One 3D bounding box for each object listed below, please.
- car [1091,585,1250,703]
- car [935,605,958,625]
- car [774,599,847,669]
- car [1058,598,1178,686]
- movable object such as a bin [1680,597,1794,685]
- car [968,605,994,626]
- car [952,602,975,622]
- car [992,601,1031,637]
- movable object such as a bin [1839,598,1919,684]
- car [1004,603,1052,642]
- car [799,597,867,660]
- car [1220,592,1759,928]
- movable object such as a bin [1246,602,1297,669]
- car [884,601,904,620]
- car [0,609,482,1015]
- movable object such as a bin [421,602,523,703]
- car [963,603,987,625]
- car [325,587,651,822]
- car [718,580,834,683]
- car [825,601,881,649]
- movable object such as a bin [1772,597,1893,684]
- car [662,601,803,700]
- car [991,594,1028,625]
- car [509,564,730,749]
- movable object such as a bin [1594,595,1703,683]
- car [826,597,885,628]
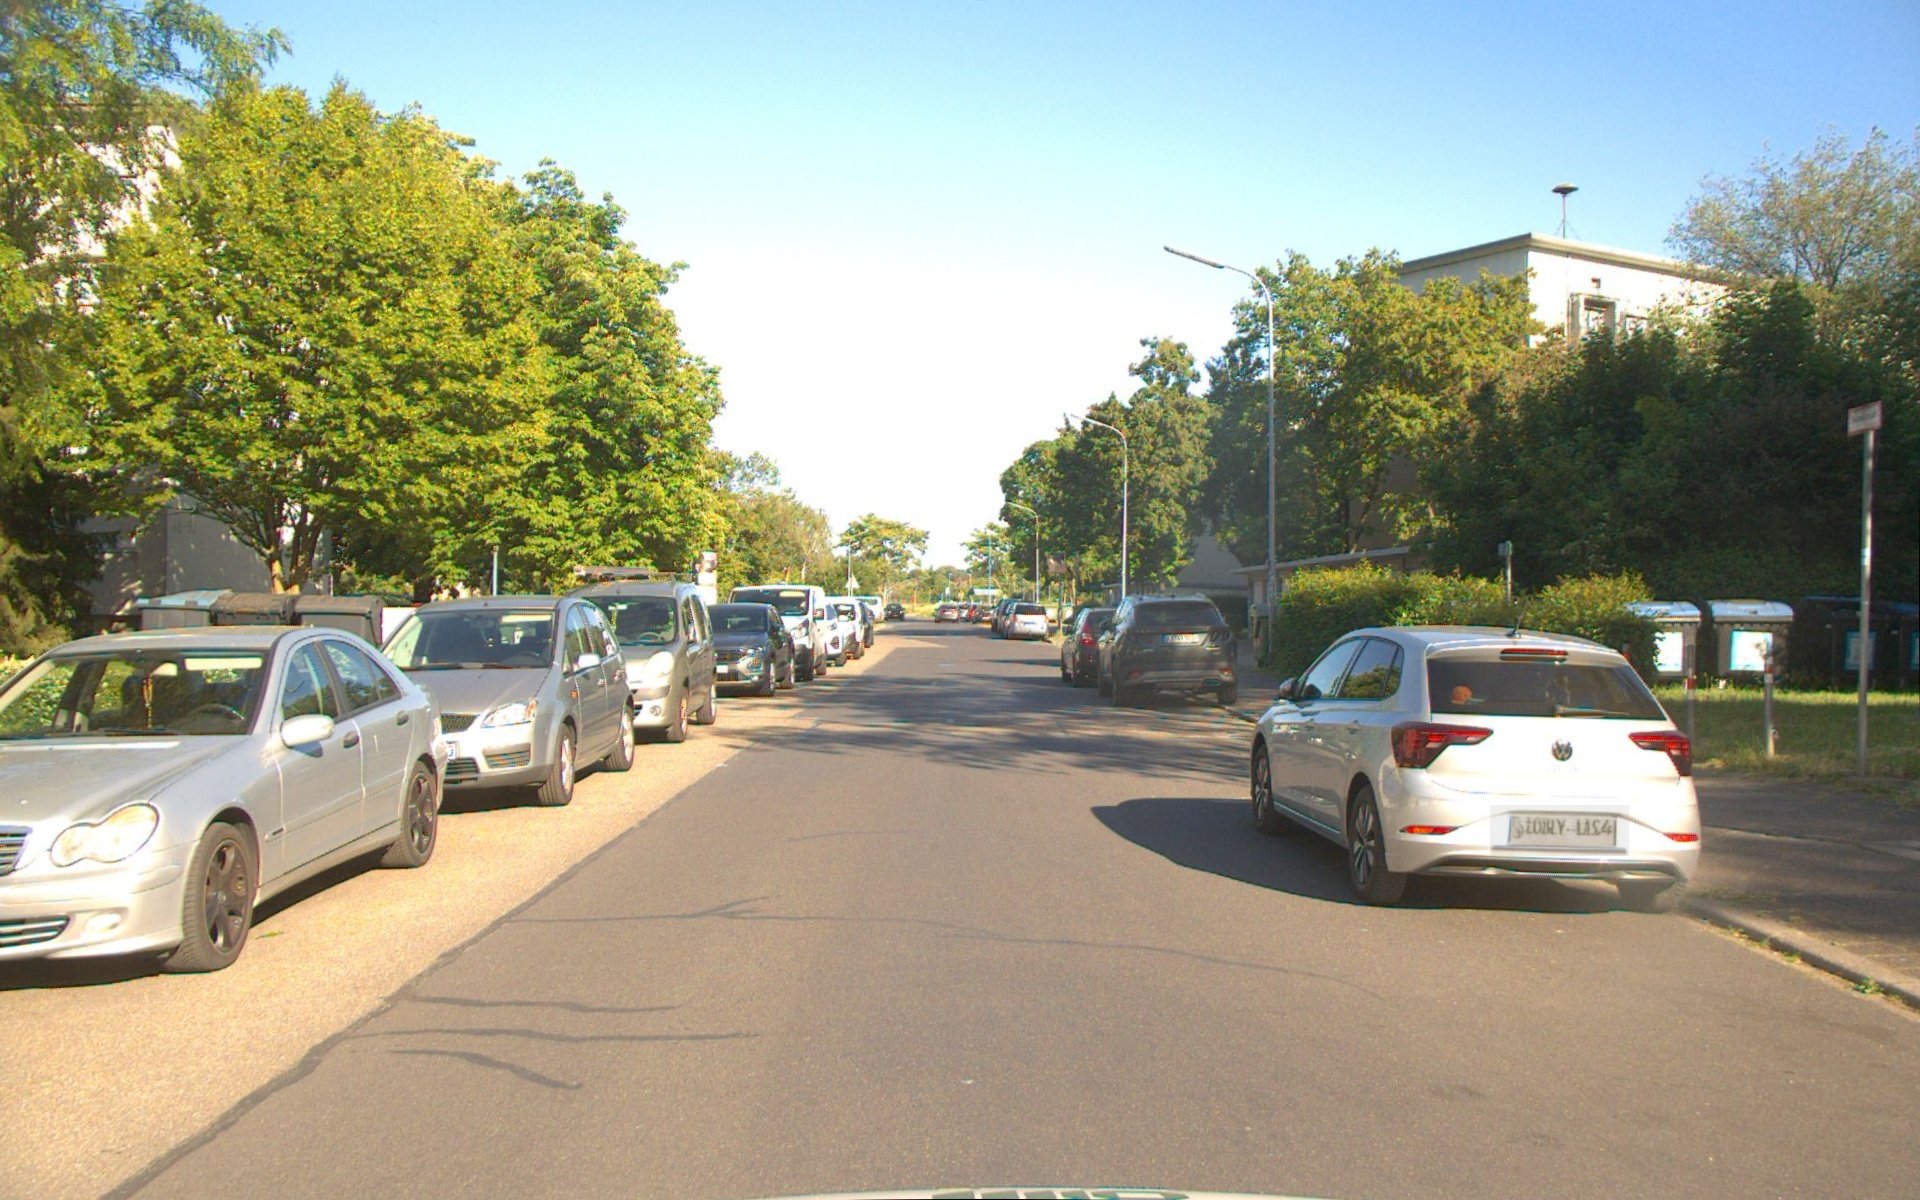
[{"bbox_3d":[3.214,0.641,26.098,1.869,1.668,4.628,1,0,0],"label":"car"},{"bbox_3d":[-1.088,1.158,130.933,1.646,1.540,4.102,2,0,-3],"label":"car"},{"bbox_3d":[-3.860,0.848,43.206,1.711,1.699,4.375,-1,0,-3],"label":"car"},{"bbox_3d":[2.972,0.761,31.945,1.869,1.557,4.327,1,0,0],"label":"car"},{"bbox_3d":[12.545,0.654,26.757,1.229,1.376,1.278,1,0,-1],"label":"movable object such as a bin"},{"bbox_3d":[1.632,1.160,127.554,1.760,1.576,3.949,1,0,-3],"label":"car"},{"bbox_3d":[0.286,1.036,144.649,1.760,1.672,3.949,1,0,-3],"label":"car"},{"bbox_3d":[2.735,0.987,87.903,1.760,1.818,3.949,1,0,-3],"label":"car"},{"bbox_3d":[15.612,0.671,27.519,1.232,1.376,1.275,1,0,-11],"label":"movable object such as a bin"},{"bbox_3d":[2.942,0.962,72.186,1.760,1.589,3.949,1,0,-3],"label":"car"},{"bbox_3d":[-3.726,0.817,49.064,1.711,1.762,4.005,-1,0,0],"label":"car"},{"bbox_3d":[2.844,0.769,9.893,1.718,1.540,4.102,2,0,-3],"label":"car"},{"bbox_3d":[6.949,0.782,36.922,0.898,1.479,1.232,0,0,0],"label":"movable object such as a bin"},{"bbox_3d":[-5.855,0.947,146.944,1.760,1.589,3.949,1,0,-3],"label":"car"},{"bbox_3d":[-3.922,0.828,8.456,1.652,1.490,4.524,-2,0,-1],"label":"car"},{"bbox_3d":[-7.420,0.786,25.220,1.079,1.445,1.361,3,0,0],"label":"movable object such as a bin"},{"bbox_3d":[1.206,1.138,134.728,1.760,1.672,3.949,1,0,-3],"label":"car"},{"bbox_3d":[-3.776,0.760,13.937,1.675,1.628,3.984,-2,0,-2],"label":"car"},{"bbox_3d":[-3.816,0.625,35.097,1.875,1.997,5.087,-1,0,0],"label":"car"},{"bbox_3d":[-3.786,0.867,58.924,1.711,1.641,4.307,-1,0,0],"label":"car"},{"bbox_3d":[14.216,0.650,26.981,1.231,1.376,1.276,1,0,-9],"label":"movable object such as a bin"},{"bbox_3d":[-3.846,0.822,28.625,1.710,1.560,4.140,-1,0,2],"label":"car"},{"bbox_3d":[2.753,0.516,92.481,1.760,1.672,3.949,1,0,-3],"label":"car"},{"bbox_3d":[-3.898,0.603,19.671,1.817,1.925,4.416,-1,0,-2],"label":"car"},{"bbox_3d":[11.180,0.621,26.910,1.229,1.376,1.278,1,0,-1],"label":"movable object such as a bin"},{"bbox_3d":[-7.210,0.885,114.176,3.975,2.027,1.800,1,0,-5],"label":"car"}]
